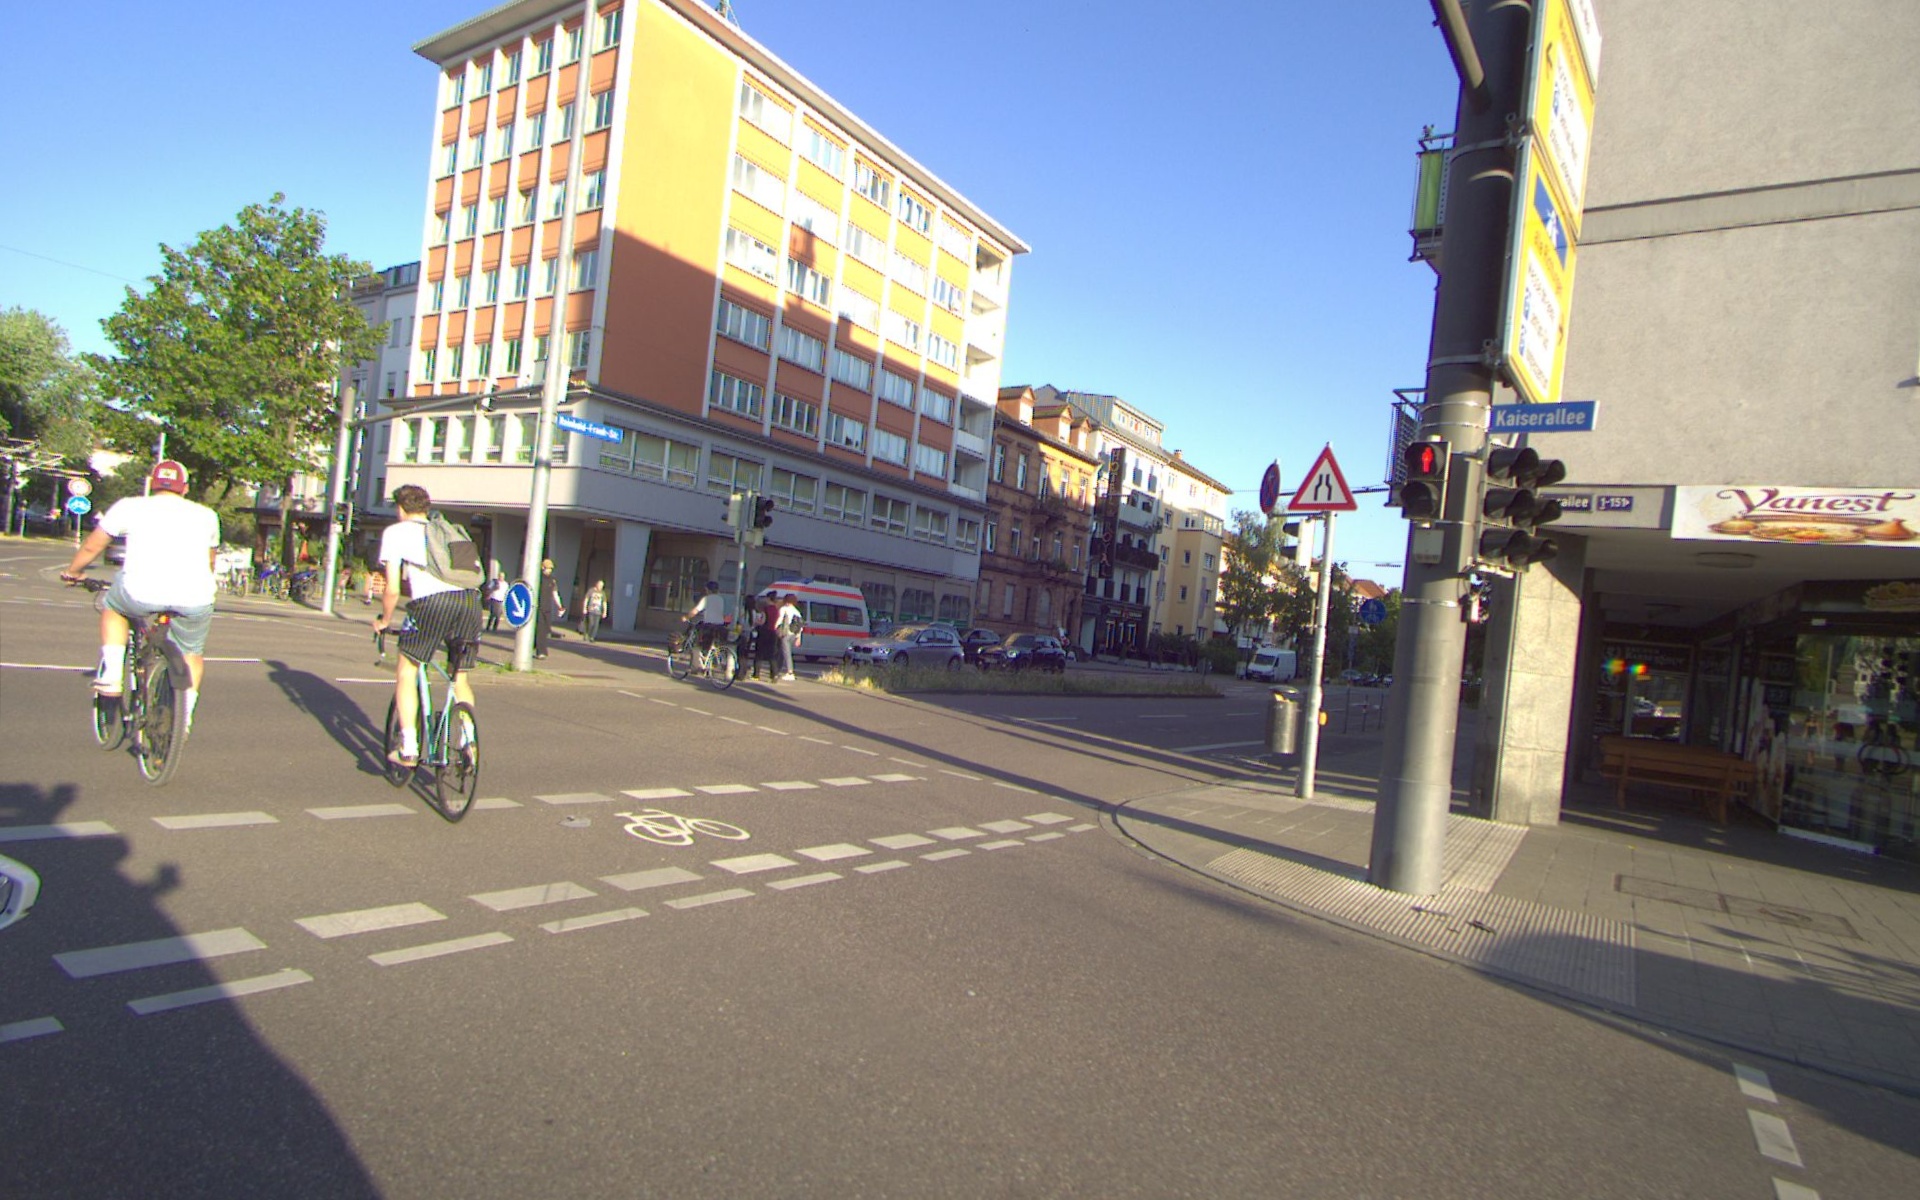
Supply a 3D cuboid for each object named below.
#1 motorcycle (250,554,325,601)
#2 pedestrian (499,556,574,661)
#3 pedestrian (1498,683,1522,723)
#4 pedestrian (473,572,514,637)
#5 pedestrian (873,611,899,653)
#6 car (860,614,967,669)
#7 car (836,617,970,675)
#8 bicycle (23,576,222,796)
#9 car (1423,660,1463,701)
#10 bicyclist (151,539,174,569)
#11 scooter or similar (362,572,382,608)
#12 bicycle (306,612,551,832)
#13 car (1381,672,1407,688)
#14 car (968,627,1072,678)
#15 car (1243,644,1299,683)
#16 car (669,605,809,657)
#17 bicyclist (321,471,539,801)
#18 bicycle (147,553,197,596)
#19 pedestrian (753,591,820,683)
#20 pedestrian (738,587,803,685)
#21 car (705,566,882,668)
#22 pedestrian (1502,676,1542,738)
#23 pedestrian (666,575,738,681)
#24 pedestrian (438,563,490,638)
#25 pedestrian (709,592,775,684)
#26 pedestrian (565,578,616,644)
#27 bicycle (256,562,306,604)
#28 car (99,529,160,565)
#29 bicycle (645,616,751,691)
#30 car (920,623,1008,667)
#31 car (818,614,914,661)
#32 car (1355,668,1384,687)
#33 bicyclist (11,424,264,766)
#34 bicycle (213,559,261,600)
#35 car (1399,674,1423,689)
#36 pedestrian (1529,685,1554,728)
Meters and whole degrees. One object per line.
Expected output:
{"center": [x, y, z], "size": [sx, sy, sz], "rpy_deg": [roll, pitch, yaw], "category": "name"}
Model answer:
{"center": [-24.447, -0.811, 36.618], "size": [0.750, 1.423, 2.041], "rpy_deg": [6, -1, 42], "category": "motorcycle"}
{"center": [-7.477, 0.140, 17.751], "size": [1.056, 1.725, 0.661], "rpy_deg": [6, 0, 39], "category": "pedestrian"}
{"center": [22.932, 4.279, 41.927], "size": [0.700, 1.595, 0.726], "rpy_deg": [6, 0, 32], "category": "pedestrian"}
{"center": [-13.097, 0.121, 28.265], "size": [0.799, 1.722, 0.568], "rpy_deg": [6, 0, 36], "category": "pedestrian"}
{"center": [-3.309, 1.457, 45.104], "size": [0.630, 1.778, 0.817], "rpy_deg": [6, 0, 37], "category": "pedestrian"}
{"center": [-1.576, 1.490, 35.412], "size": [1.571, 1.590, 4.076], "rpy_deg": [6, -1, 33], "category": "car"}
{"center": [-1.599, 1.385, 29.573], "size": [1.778, 1.392, 3.990], "rpy_deg": [5, -2, 34], "category": "car"}
{"center": [-5.073, 0.456, 6.043], "size": [1.952, 1.040, 0.478], "rpy_deg": [5, -1, 39], "category": "bicycle"}
{"center": [36.885, 6.165, 76.775], "size": [2.056, 2.754, 4.538], "rpy_deg": [6, -1, 32], "category": "car"}
{"center": [-47.079, -2.710, 59.406], "size": [0.772, 1.637, 1.017], "rpy_deg": [8, -1, -32], "category": "bicyclist"}
{"center": [-21.892, -0.383, 37.468], "size": [0.413, 1.269, 1.171], "rpy_deg": [6, -1, -36], "category": "scooter or similar"}
{"center": [-3.313, 0.687, 6.193], "size": [1.830, 1.040, 0.575], "rpy_deg": [5, -1, 39], "category": "bicycle"}
{"center": [48.838, 9.024, 113.238], "size": [1.898, 1.593, 3.991], "rpy_deg": [6, -1, 33], "category": "car"}
{"center": [2.210, 1.911, 35.899], "size": [1.760, 1.481, 3.989], "rpy_deg": [6, -1, 35], "category": "car"}
{"center": [23.311, 4.802, 75.269], "size": [2.091, 2.553, 6.415], "rpy_deg": [6, -1, 34], "category": "car"}
{"center": [-7.605, 1.114, 35.060], "size": [1.811, 1.357, 4.663], "rpy_deg": [6, -2, 36], "category": "car"}
{"center": [-3.226, 0.192, 6.119], "size": [0.979, 1.829, 0.673], "rpy_deg": [6, 0, 38], "category": "bicyclist"}
{"center": [-24.373, -0.802, 31.110], "size": [1.845, 1.140, 0.645], "rpy_deg": [7, 0, 36], "category": "bicycle"}
{"center": [-3.394, 0.731, 19.685], "size": [0.892, 1.682, 0.727], "rpy_deg": [6, 0, 36], "category": "pedestrian"}
{"center": [-3.442, 0.661, 18.313], "size": [0.735, 1.682, 0.682], "rpy_deg": [6, 0, 36], "category": "pedestrian"}
{"center": [-4.820, 0.597, 30.011], "size": [1.895, 2.512, 5.254], "rpy_deg": [6, -1, 34], "category": "car"}
{"center": [17.599, 3.346, 31.535], "size": [0.698, 1.797, 0.728], "rpy_deg": [6, 0, 4], "category": "pedestrian"}
{"center": [-4.134, 0.450, 16.155], "size": [0.750, 1.608, 0.675], "rpy_deg": [4, -2, 37], "category": "pedestrian"}
{"center": [-11.368, 0.006, 23.041], "size": [0.736, 1.609, 0.681], "rpy_deg": [6, 0, 39], "category": "pedestrian"}
{"center": [-3.834, 0.666, 17.696], "size": [0.735, 1.518, 0.682], "rpy_deg": [6, 0, 36], "category": "pedestrian"}
{"center": [-10.511, 0.317, 28.632], "size": [1.011, 1.722, 0.783], "rpy_deg": [6, 0, 36], "category": "pedestrian"}
{"center": [-22.763, -0.586, 33.722], "size": [2.091, 1.172, 0.645], "rpy_deg": [7, 0, 36], "category": "bicycle"}
{"center": [-40.300, -2.554, 48.886], "size": [1.715, 1.491, 3.867], "rpy_deg": [4, 0, -32], "category": "car"}
{"center": [-4.217, 0.843, 16.121], "size": [1.821, 0.993, 0.520], "rpy_deg": [6, 0, 37], "category": "bicycle"}
{"center": [0.228, 2.101, 46.490], "size": [1.969, 1.593, 3.988], "rpy_deg": [6, -1, 36], "category": "car"}
{"center": [-3.773, 1.562, 40.775], "size": [1.729, 1.528, 3.763], "rpy_deg": [6, -1, 36], "category": "car"}
{"center": [41.538, 7.845, 102.057], "size": [1.898, 1.593, 3.991], "rpy_deg": [6, -1, 33], "category": "car"}
{"center": [-4.902, -0.027, 5.994], "size": [1.042, 1.829, 0.826], "rpy_deg": [6, -1, 38], "category": "bicyclist"}
{"center": [-23.493, -0.678, 32.662], "size": [1.845, 1.140, 0.645], "rpy_deg": [7, 0, 36], "category": "bicycle"}
{"center": [54.207, 9.804, 120.769], "size": [1.898, 1.593, 3.991], "rpy_deg": [6, -1, 33], "category": "car"}
{"center": [23.157, 4.229, 40.061], "size": [0.700, 1.595, 0.726], "rpy_deg": [6, 0, 34], "category": "pedestrian"}
